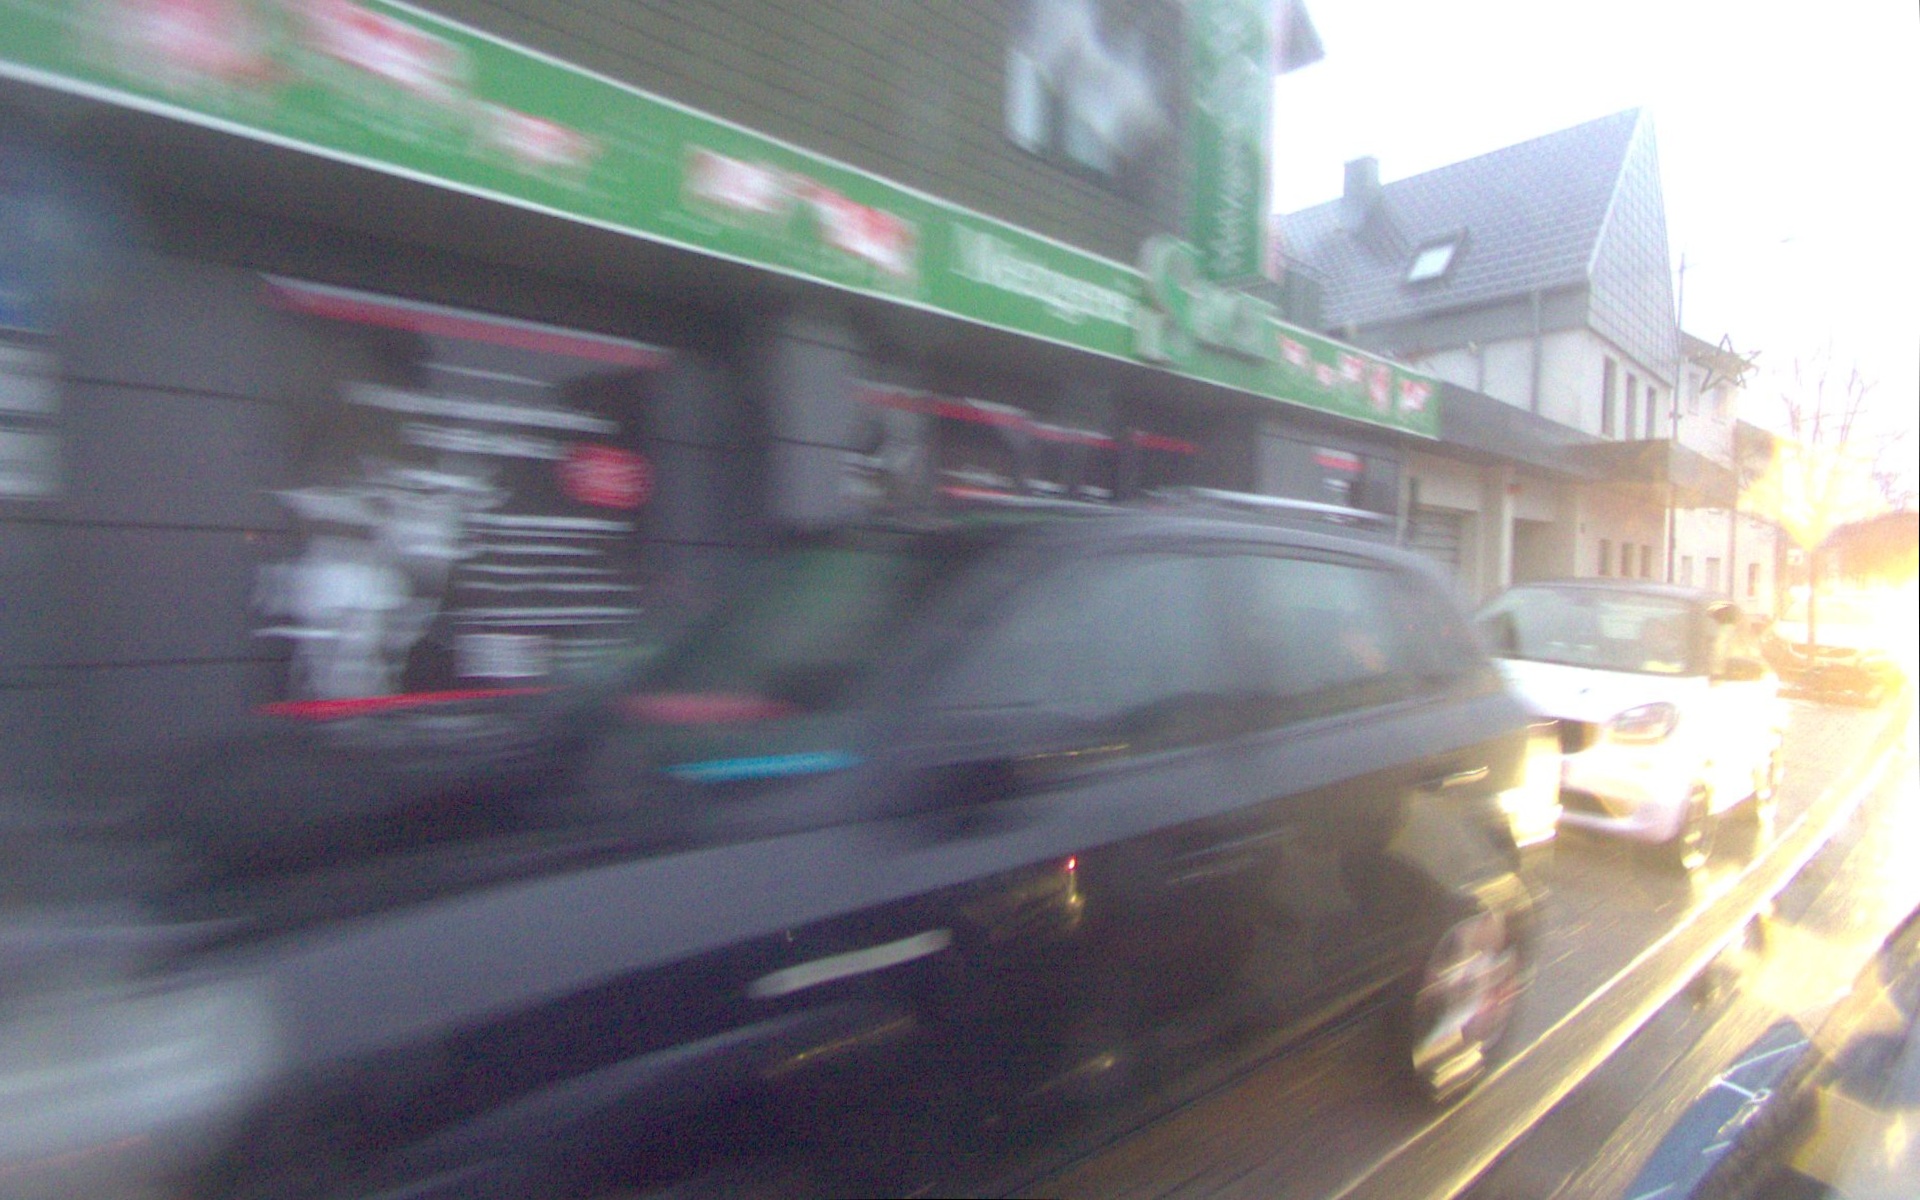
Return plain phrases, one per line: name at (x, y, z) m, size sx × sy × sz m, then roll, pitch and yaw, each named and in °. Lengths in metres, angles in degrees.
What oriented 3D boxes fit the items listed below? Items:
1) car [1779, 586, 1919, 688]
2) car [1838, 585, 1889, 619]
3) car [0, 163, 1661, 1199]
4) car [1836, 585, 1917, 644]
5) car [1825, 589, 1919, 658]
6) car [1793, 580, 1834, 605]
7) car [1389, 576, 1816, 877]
car at (15.678, 0.548, 17.671) m, size 1.654 × 1.472 × 4.170 m, roll 6°, pitch 5°, yaw 44°
car at (45.623, 0.064, 51.155) m, size 1.806 × 1.583 × 4.240 m, roll 3°, pitch 3°, yaw 41°
car at (0.109, 0.465, 2.766) m, size 3.927 × 1.803 × 1.775 m, roll 0°, pitch 5°, yaw -38°
car at (27.436, 0.369, 30.332) m, size 1.664 × 1.595 × 4.428 m, roll 3°, pitch 3°, yaw 42°
car at (22.960, 0.513, 25.261) m, size 1.955 × 1.552 × 4.932 m, roll 0°, pitch 0°, yaw 42°
car at (66.628, -0.633, 79.030) m, size 1.905 × 1.812 × 4.511 m, roll 3°, pitch 2°, yaw 34°
car at (4.286, 0.640, 6.665) m, size 2.681 × 1.432 × 1.649 m, roll 1°, pitch 4°, yaw -42°
